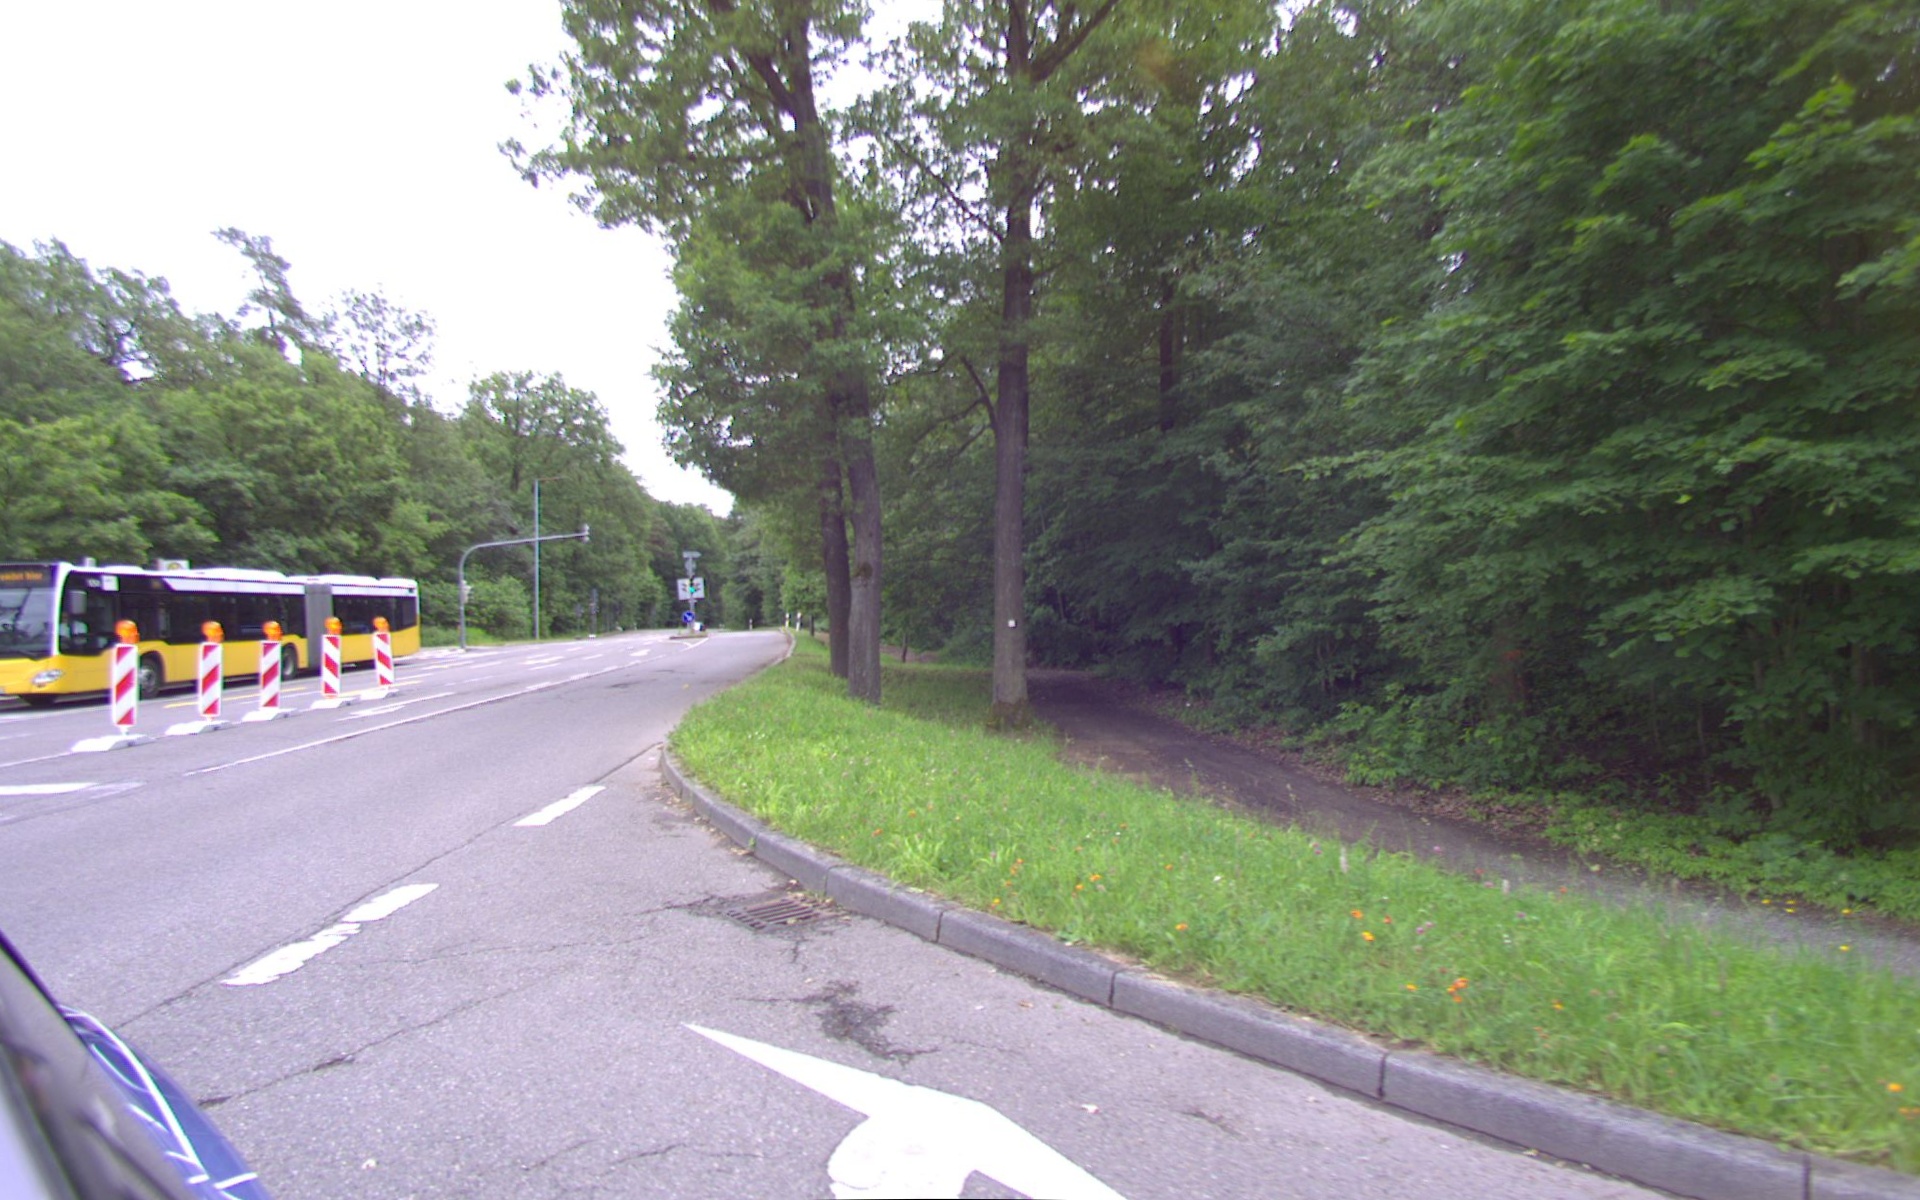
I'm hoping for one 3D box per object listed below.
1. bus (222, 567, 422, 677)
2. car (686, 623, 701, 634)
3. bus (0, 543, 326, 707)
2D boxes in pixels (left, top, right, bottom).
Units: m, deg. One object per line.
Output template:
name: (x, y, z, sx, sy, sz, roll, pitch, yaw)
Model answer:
bus: (-21.118, 0.682, 34.122, 2.767, 3.183, 7.771, -2, 0, -9)
car: (-35.409, 3.778, 134.561, 1.723, 1.340, 4.010, -3, 1, -12)
bus: (-19.795, 0.568, 25.056, 2.768, 3.183, 10.536, -2, 0, -8)
